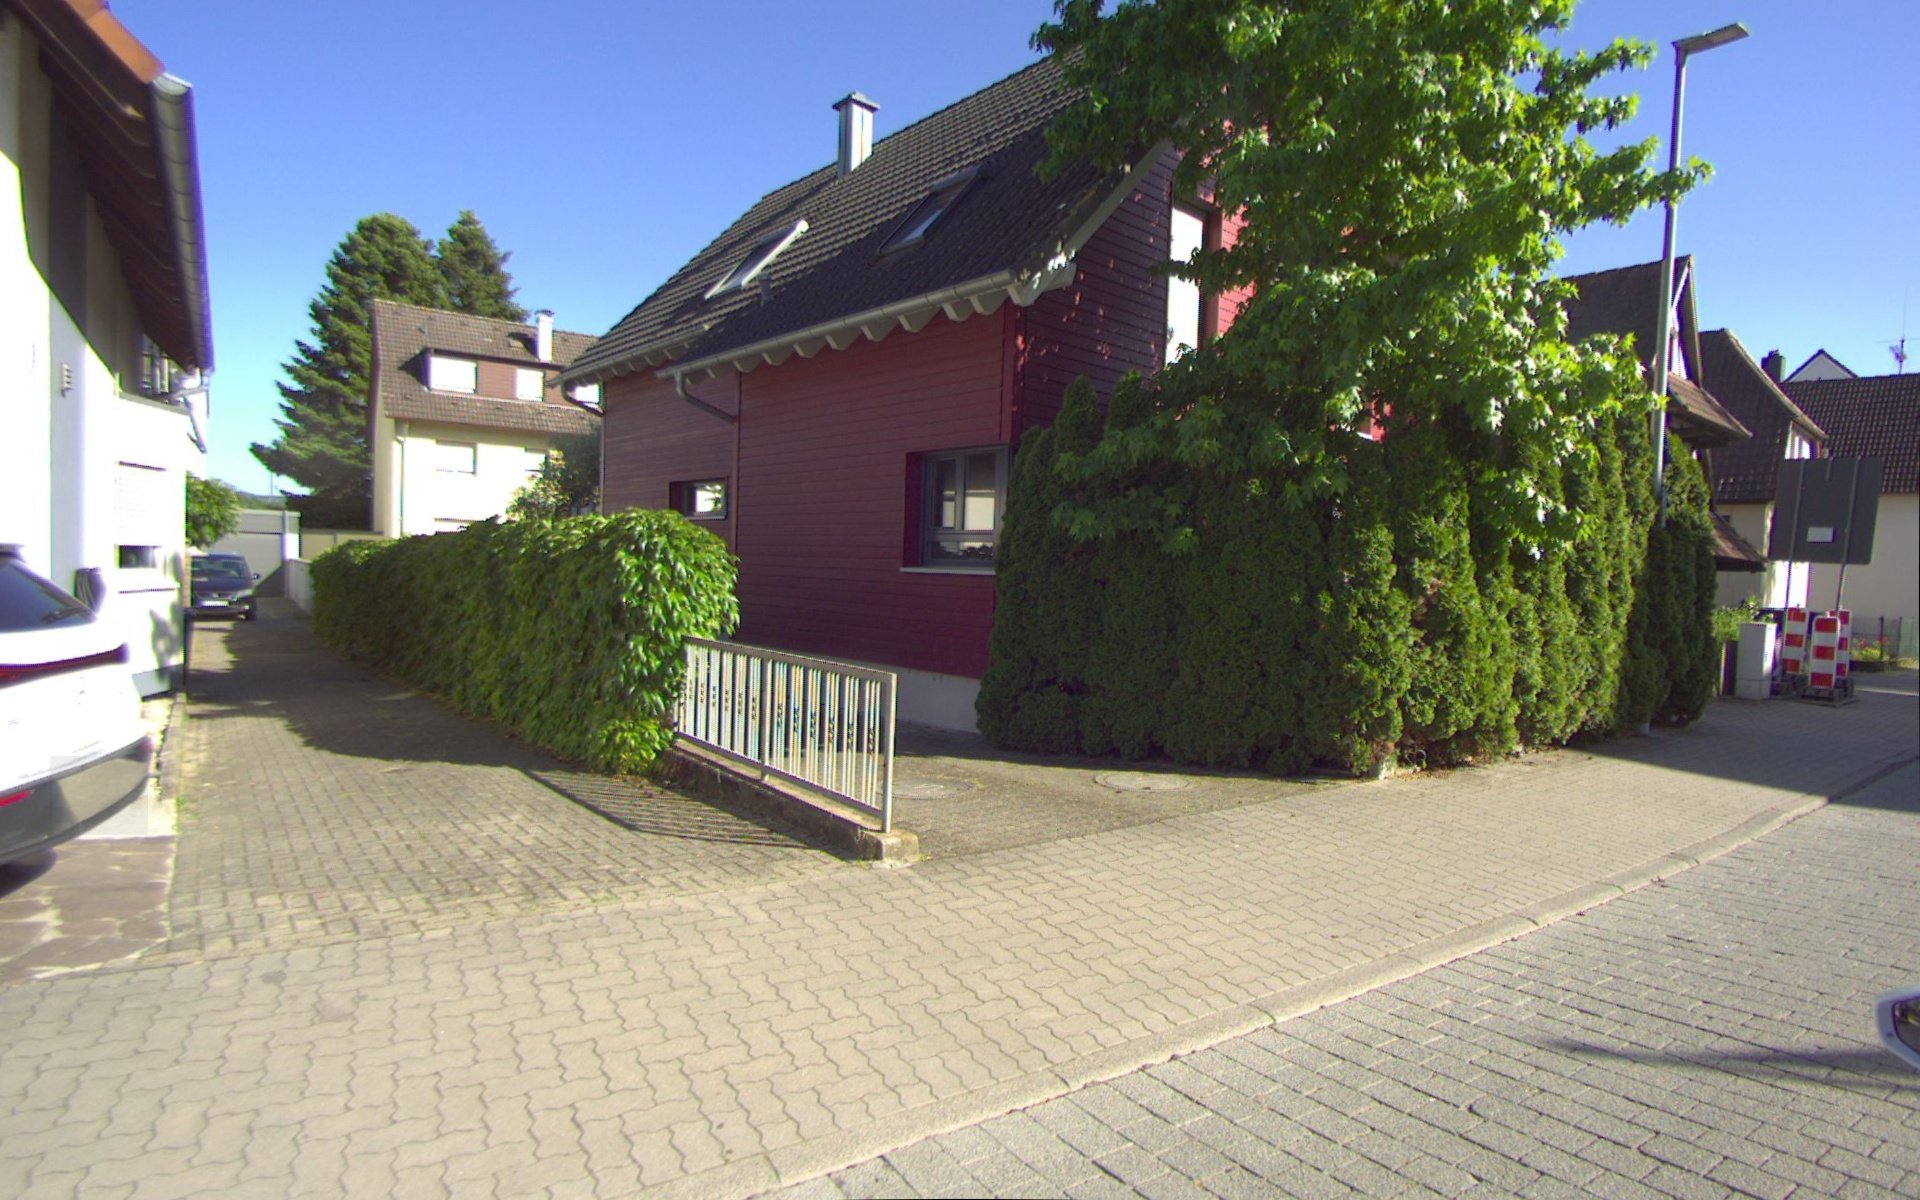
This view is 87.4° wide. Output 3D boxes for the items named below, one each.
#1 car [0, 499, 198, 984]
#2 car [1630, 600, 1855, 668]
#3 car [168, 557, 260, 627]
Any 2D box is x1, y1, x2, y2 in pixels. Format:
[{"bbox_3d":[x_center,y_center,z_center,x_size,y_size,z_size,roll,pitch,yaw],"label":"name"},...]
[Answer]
[{"bbox_3d":[-5.504,0.394,3.327,4.378,1.617,1.814,1,3,-20],"label":"car"},{"bbox_3d":[18.961,0.755,24.463,1.836,1.481,4.118,0,0,-44],"label":"car"},{"bbox_3d":[-19.705,-0.272,26.670,1.784,1.646,3.961,-1,3,-34],"label":"car"}]
